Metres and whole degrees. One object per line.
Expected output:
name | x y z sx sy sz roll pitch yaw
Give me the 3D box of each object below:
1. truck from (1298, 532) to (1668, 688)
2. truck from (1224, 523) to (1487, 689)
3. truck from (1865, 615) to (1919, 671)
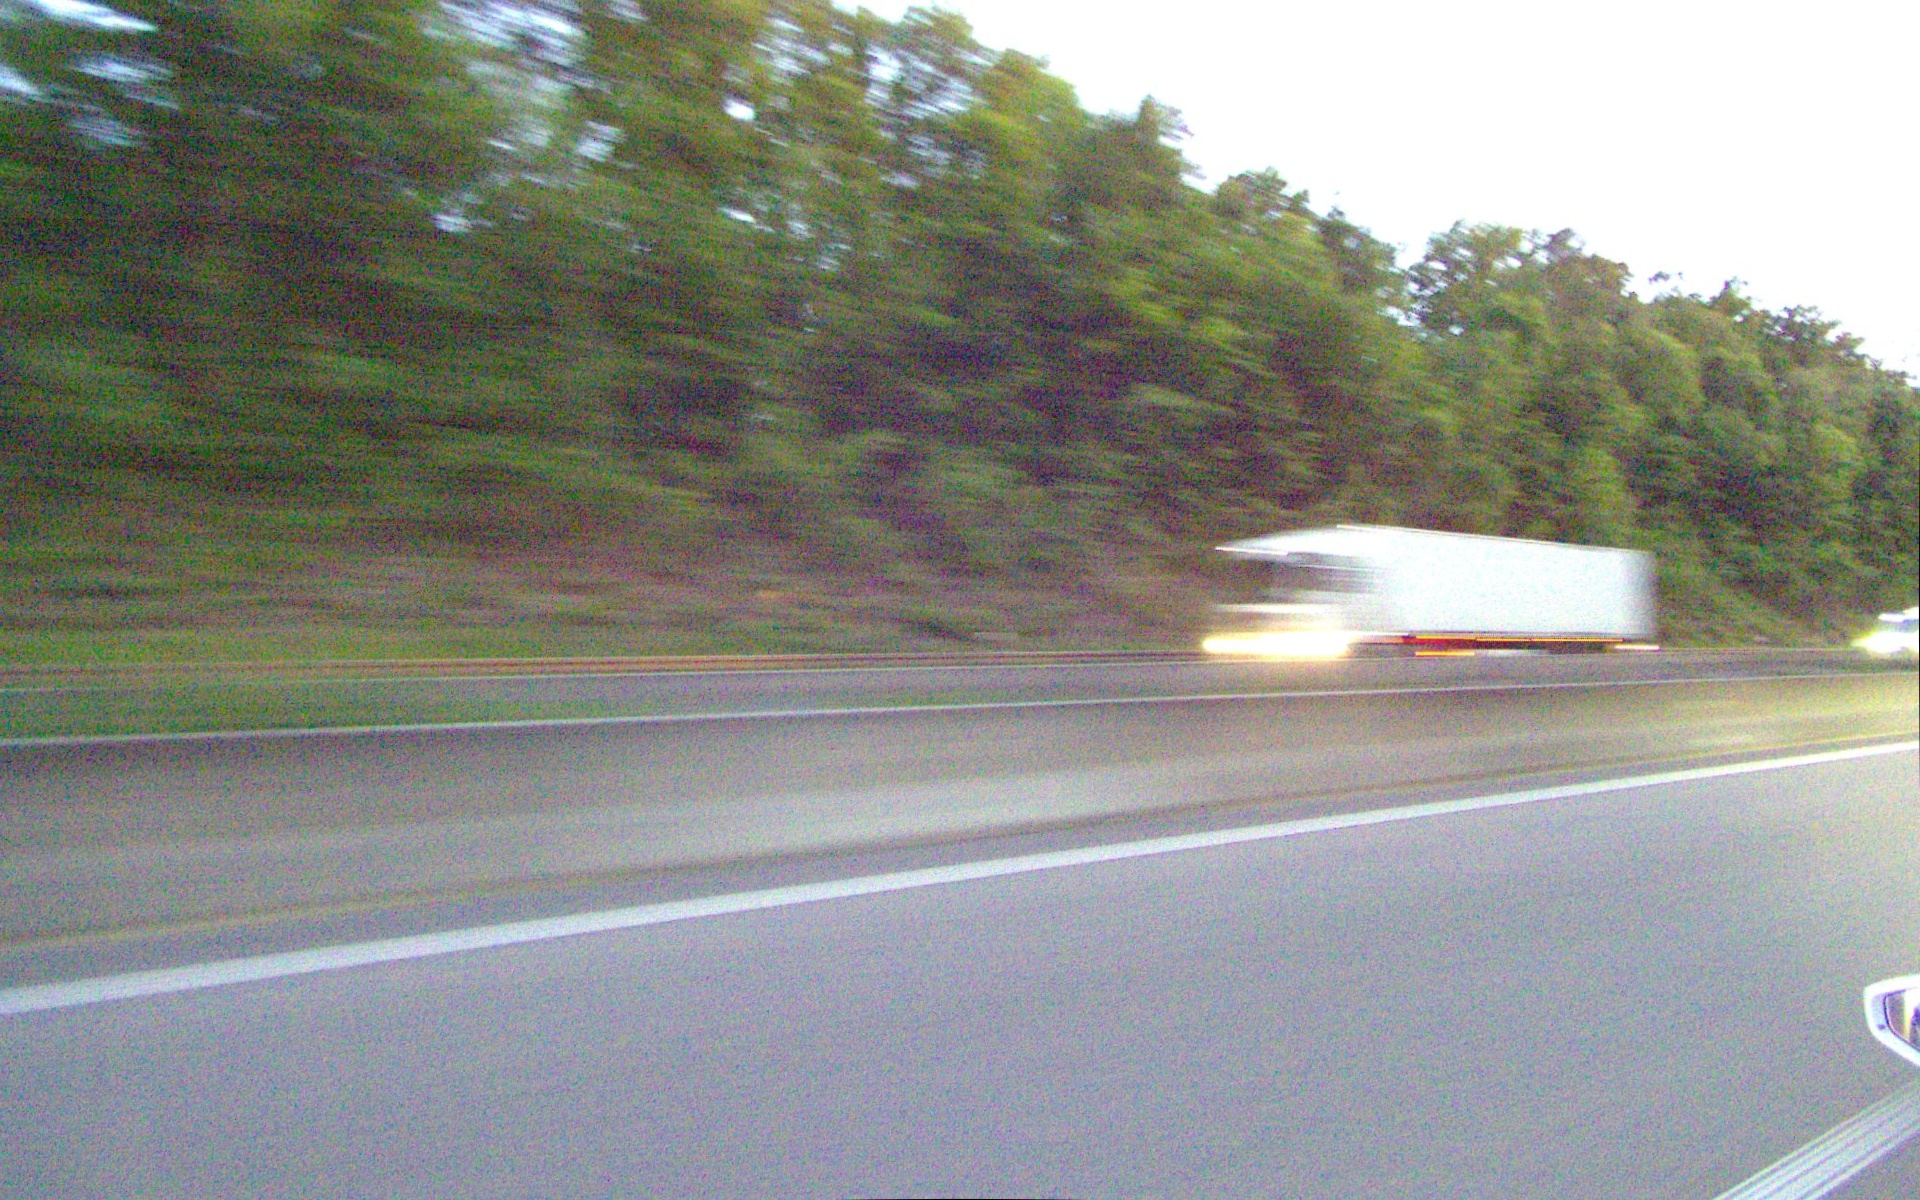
truck | 16.718 0.443 31.306 14.331 4.056 3.340 2 -2 -31
truck | 10.959 0.254 27.734 6.801 4.056 3.363 1 -2 -31
truck | 47.905 2.092 49.099 9.635 2.543 2.450 2 -1 -29
